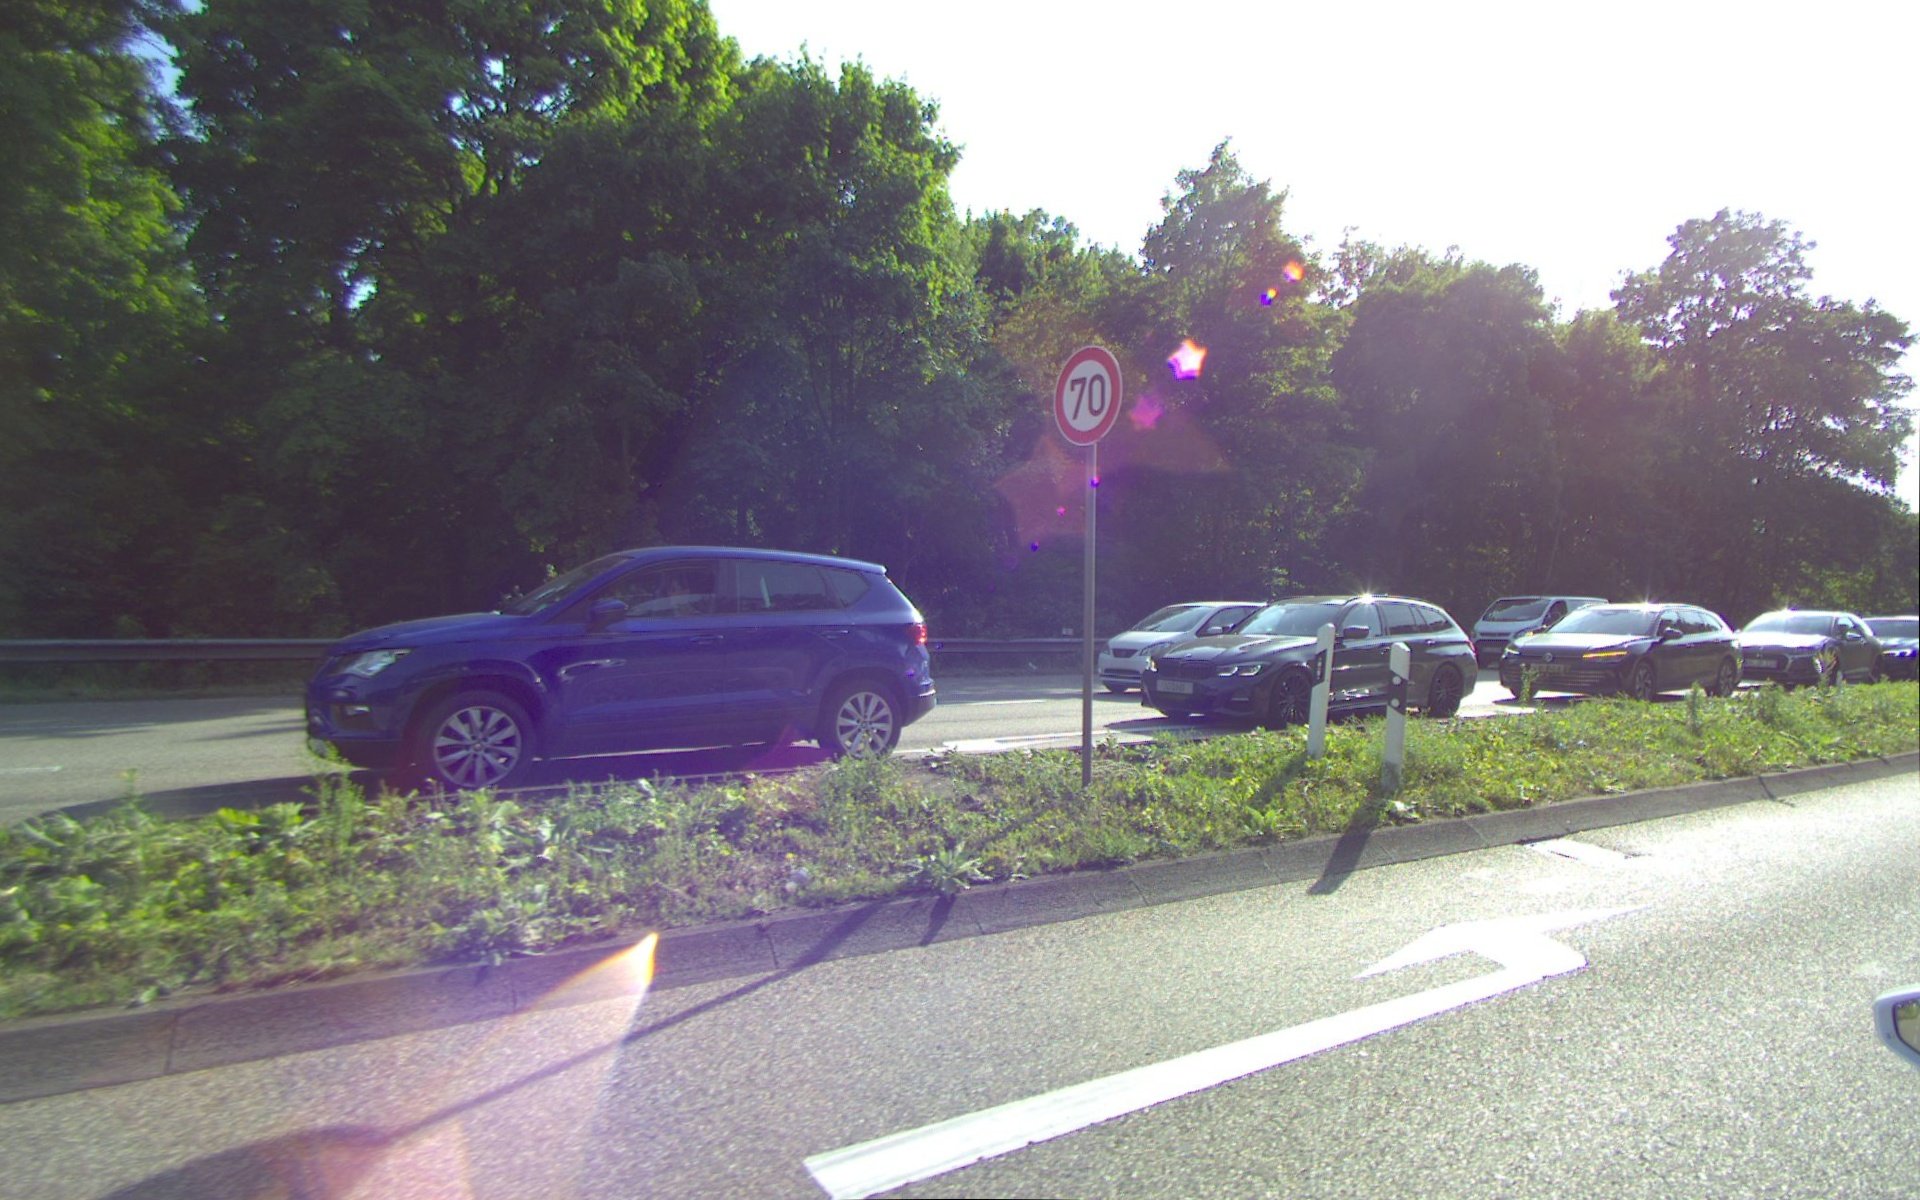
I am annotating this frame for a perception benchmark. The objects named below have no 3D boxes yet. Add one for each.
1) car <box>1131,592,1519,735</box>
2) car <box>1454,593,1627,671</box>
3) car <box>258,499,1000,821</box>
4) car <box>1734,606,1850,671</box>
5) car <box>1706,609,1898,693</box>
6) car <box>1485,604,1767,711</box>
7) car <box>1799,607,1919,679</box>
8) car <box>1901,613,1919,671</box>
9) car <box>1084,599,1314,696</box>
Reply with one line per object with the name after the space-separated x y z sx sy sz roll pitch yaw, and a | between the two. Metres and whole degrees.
4.392 0.654 11.807 4.790 1.398 1.761 1 -1 -33 | car
15.970 0.896 27.565 5.046 1.961 2.001 1 -3 -33 | car
-2.150 0.351 7.318 4.748 1.691 1.761 1 0 -33 | car
23.722 1.089 28.619 3.538 1.728 1.615 1 -3 -34 | car
16.301 0.928 19.398 4.165 1.442 1.697 1 -1 -33 | car
10.477 0.815 15.656 5.136 1.442 1.761 1 -1 -33 | car
20.943 0.919 22.551 5.135 1.442 1.757 1 -1 -32 | car
26.143 1.080 25.890 4.385 1.436 1.757 1 -1 -33 | car
3.864 0.747 16.103 3.579 1.402 1.537 1 -3 -33 | car
